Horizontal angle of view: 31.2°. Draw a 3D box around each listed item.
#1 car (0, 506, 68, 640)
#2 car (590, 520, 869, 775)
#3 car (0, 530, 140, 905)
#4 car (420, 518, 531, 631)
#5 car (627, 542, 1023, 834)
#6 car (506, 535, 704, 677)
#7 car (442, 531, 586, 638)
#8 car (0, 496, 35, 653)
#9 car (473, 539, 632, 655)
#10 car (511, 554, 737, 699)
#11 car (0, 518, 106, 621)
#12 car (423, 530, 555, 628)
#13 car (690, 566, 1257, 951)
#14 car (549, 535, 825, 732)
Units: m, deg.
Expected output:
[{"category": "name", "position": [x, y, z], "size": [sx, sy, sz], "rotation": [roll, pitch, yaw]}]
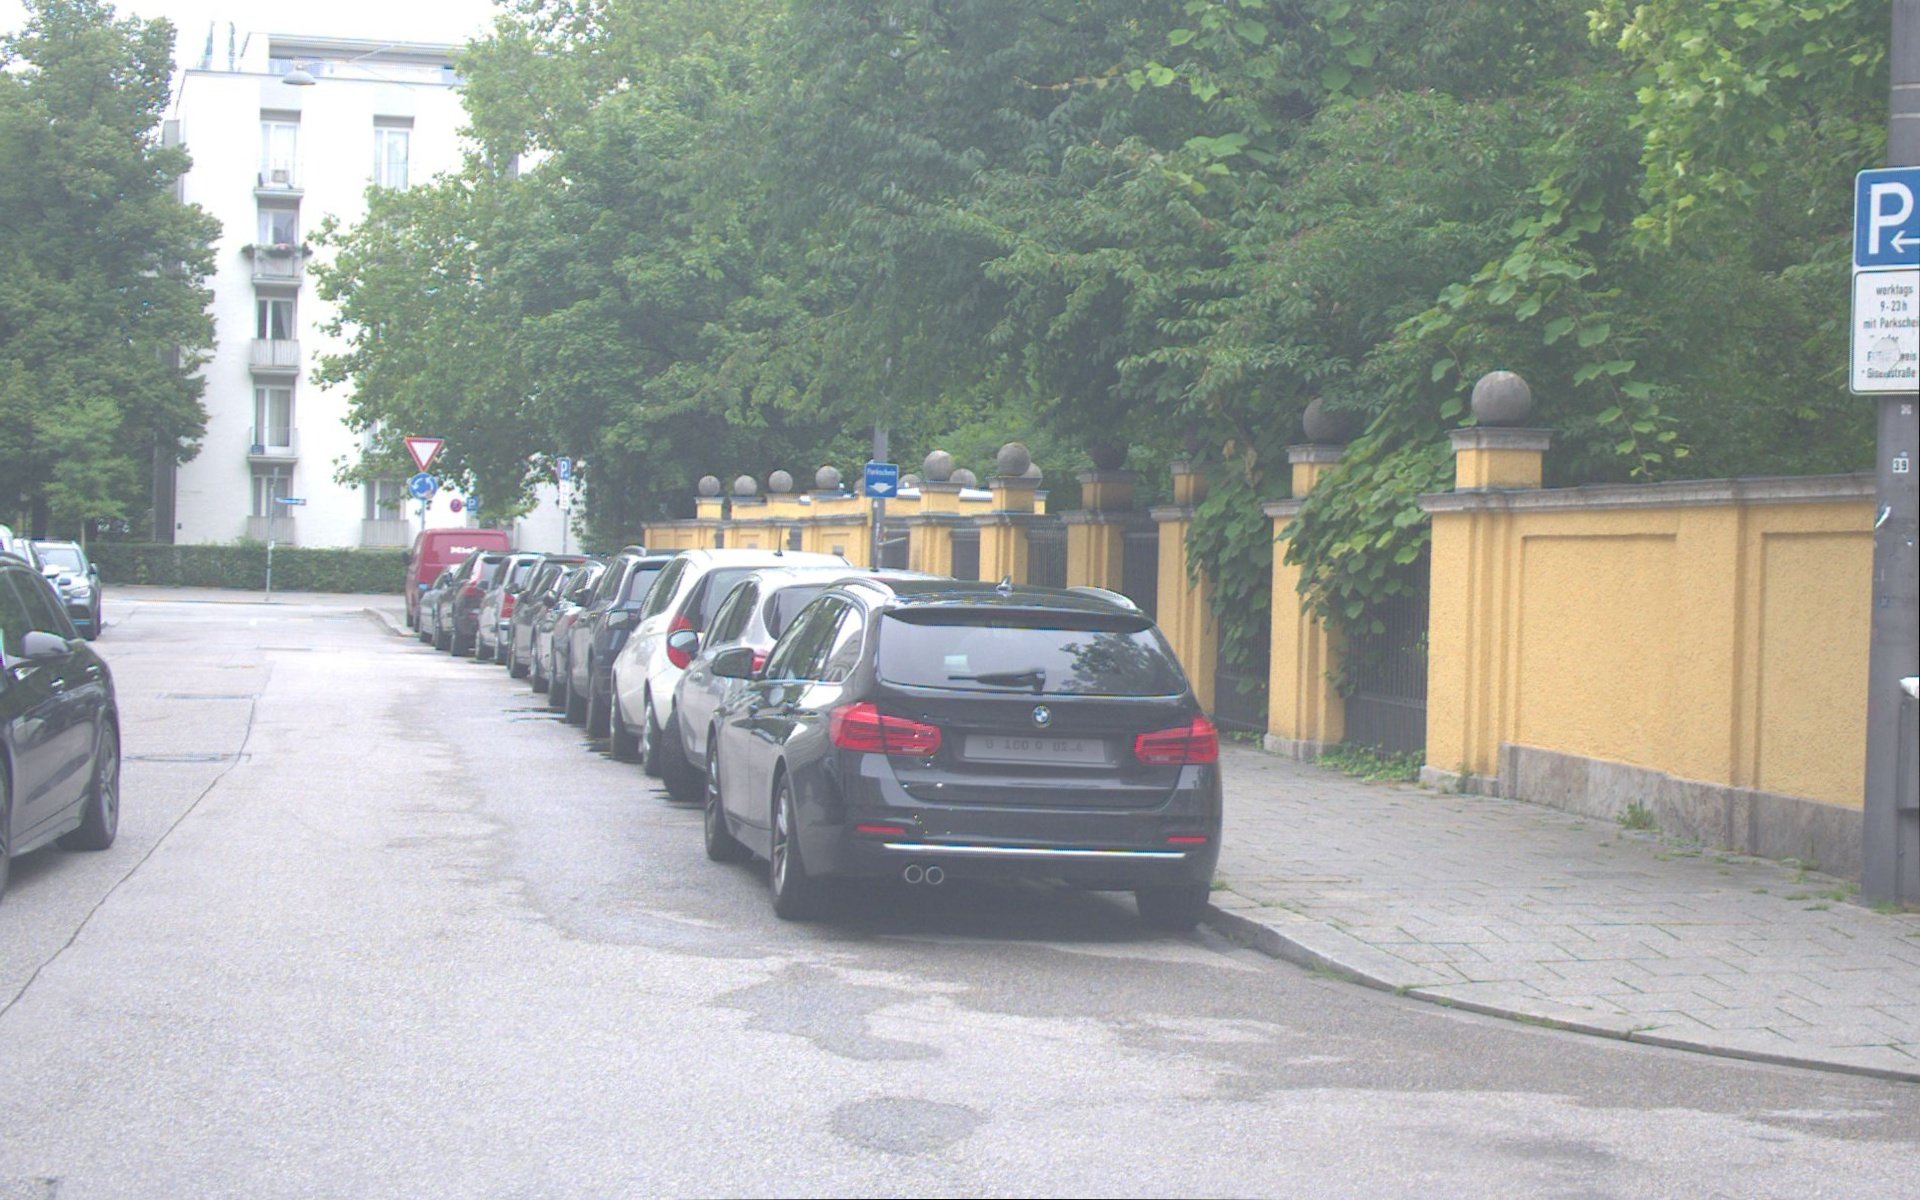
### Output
[{"category": "car", "position": [-13.276, -0.384, 46.483], "size": [2.014, 1.720, 4.276], "rotation": [-1, 2, -10]}, {"category": "car", "position": [-1.747, 0.302, 25.036], "size": [1.513, 1.656, 3.675], "rotation": [3, 0, -11]}, {"category": "car", "position": [-4.823, 0.422, 14.917], "size": [1.874, 1.423, 4.410], "rotation": [0, 2, -6]}, {"category": "car", "position": [-9.121, -0.514, 64.954], "size": [1.836, 1.920, 4.005], "rotation": [4, 1, -6]}, {"category": "car", "position": [-0.899, 0.455, 20.380], "size": [1.652, 1.513, 3.796], "rotation": [3, 0, -12]}, {"category": "car", "position": [-4.230, 0.041, 40.522], "size": [1.838, 1.513, 3.949], "rotation": [3, 0, -12]}, {"category": "car", "position": [-6.950, -0.261, 53.291], "size": [1.838, 1.513, 3.949], "rotation": [3, 0, -12]}, {"category": "car", "position": [-12.220, -0.321, 40.770], "size": [2.014, 1.765, 4.415], "rotation": [-1, 2, -10]}, {"category": "car", "position": [-5.884, -0.061, 49.272], "size": [1.838, 1.513, 3.949], "rotation": [3, 0, -12]}, {"category": "car", "position": [-3.538, 0.236, 35.643], "size": [1.838, 1.341, 3.949], "rotation": [3, 0, -12]}, {"category": "car", "position": [-15.607, -0.538, 57.992], "size": [2.014, 1.628, 4.415], "rotation": [-1, 2, -10]}, {"category": "car", "position": [-7.985, -0.371, 58.054], "size": [1.838, 1.513, 3.949], "rotation": [3, 0, -12]}, {"category": "car", "position": [-0.104, 0.599, 15.408], "size": [1.838, 1.408, 4.343], "rotation": [3, 0, -9]}, {"category": "car", "position": [-2.467, 0.251, 30.180], "size": [1.838, 1.546, 3.949], "rotation": [3, 0, -12]}]
